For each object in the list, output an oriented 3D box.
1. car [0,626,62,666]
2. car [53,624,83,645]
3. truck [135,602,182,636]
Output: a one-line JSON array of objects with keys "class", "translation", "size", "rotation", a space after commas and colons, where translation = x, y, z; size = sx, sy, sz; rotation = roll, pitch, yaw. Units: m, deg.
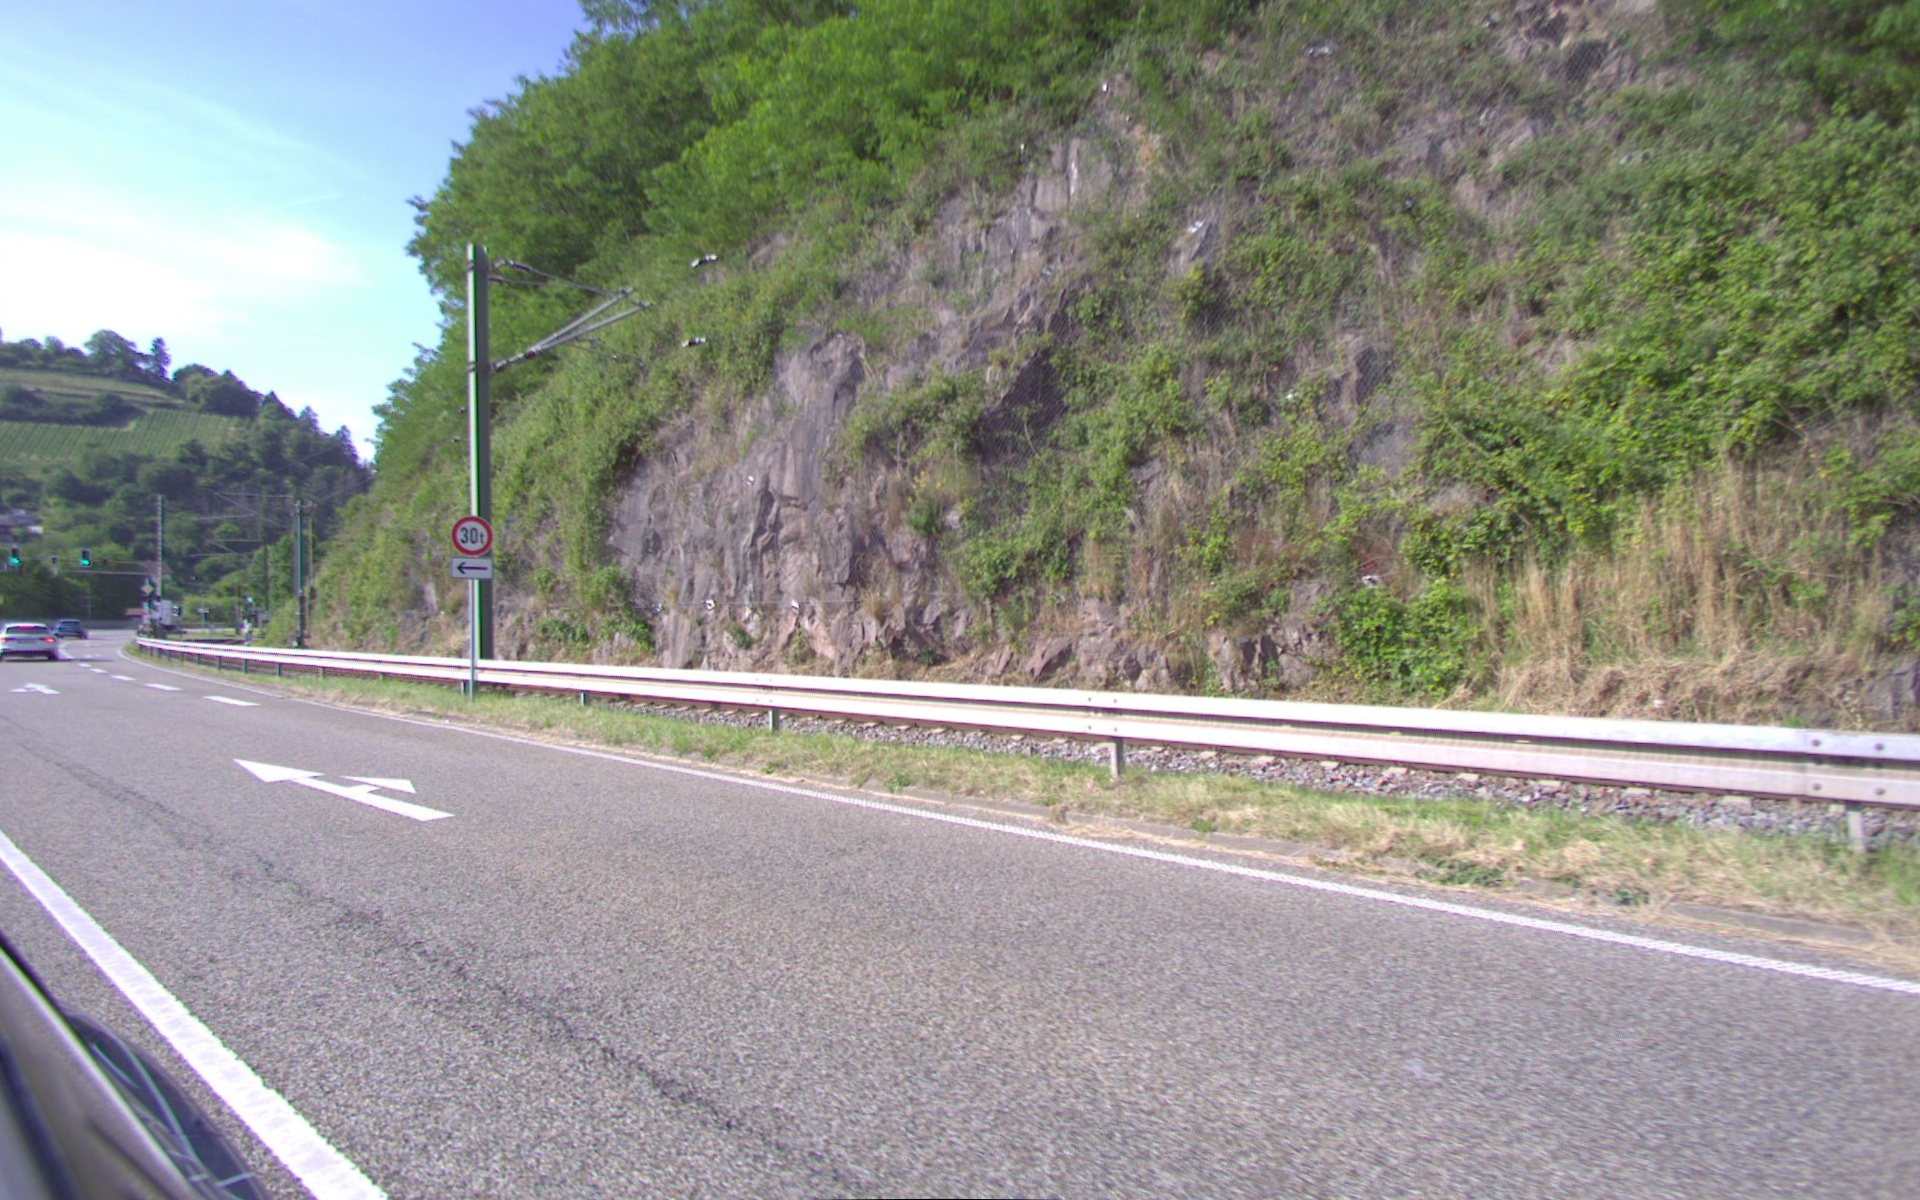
[{"class": "car", "translation": [-36.264, 1.739, 39.121], "size": [4.688, 1.450, 2.040], "rotation": [-2, -2, 45]}, {"class": "car", "translation": [-72.463, 2.784, 82.191], "size": [1.698, 1.582, 4.139], "rotation": [0, -1, -43]}, {"class": "truck", "translation": [-94.386, 2.242, 119.252], "size": [2.856, 3.828, 8.921], "rotation": [1, -2, -29]}]
